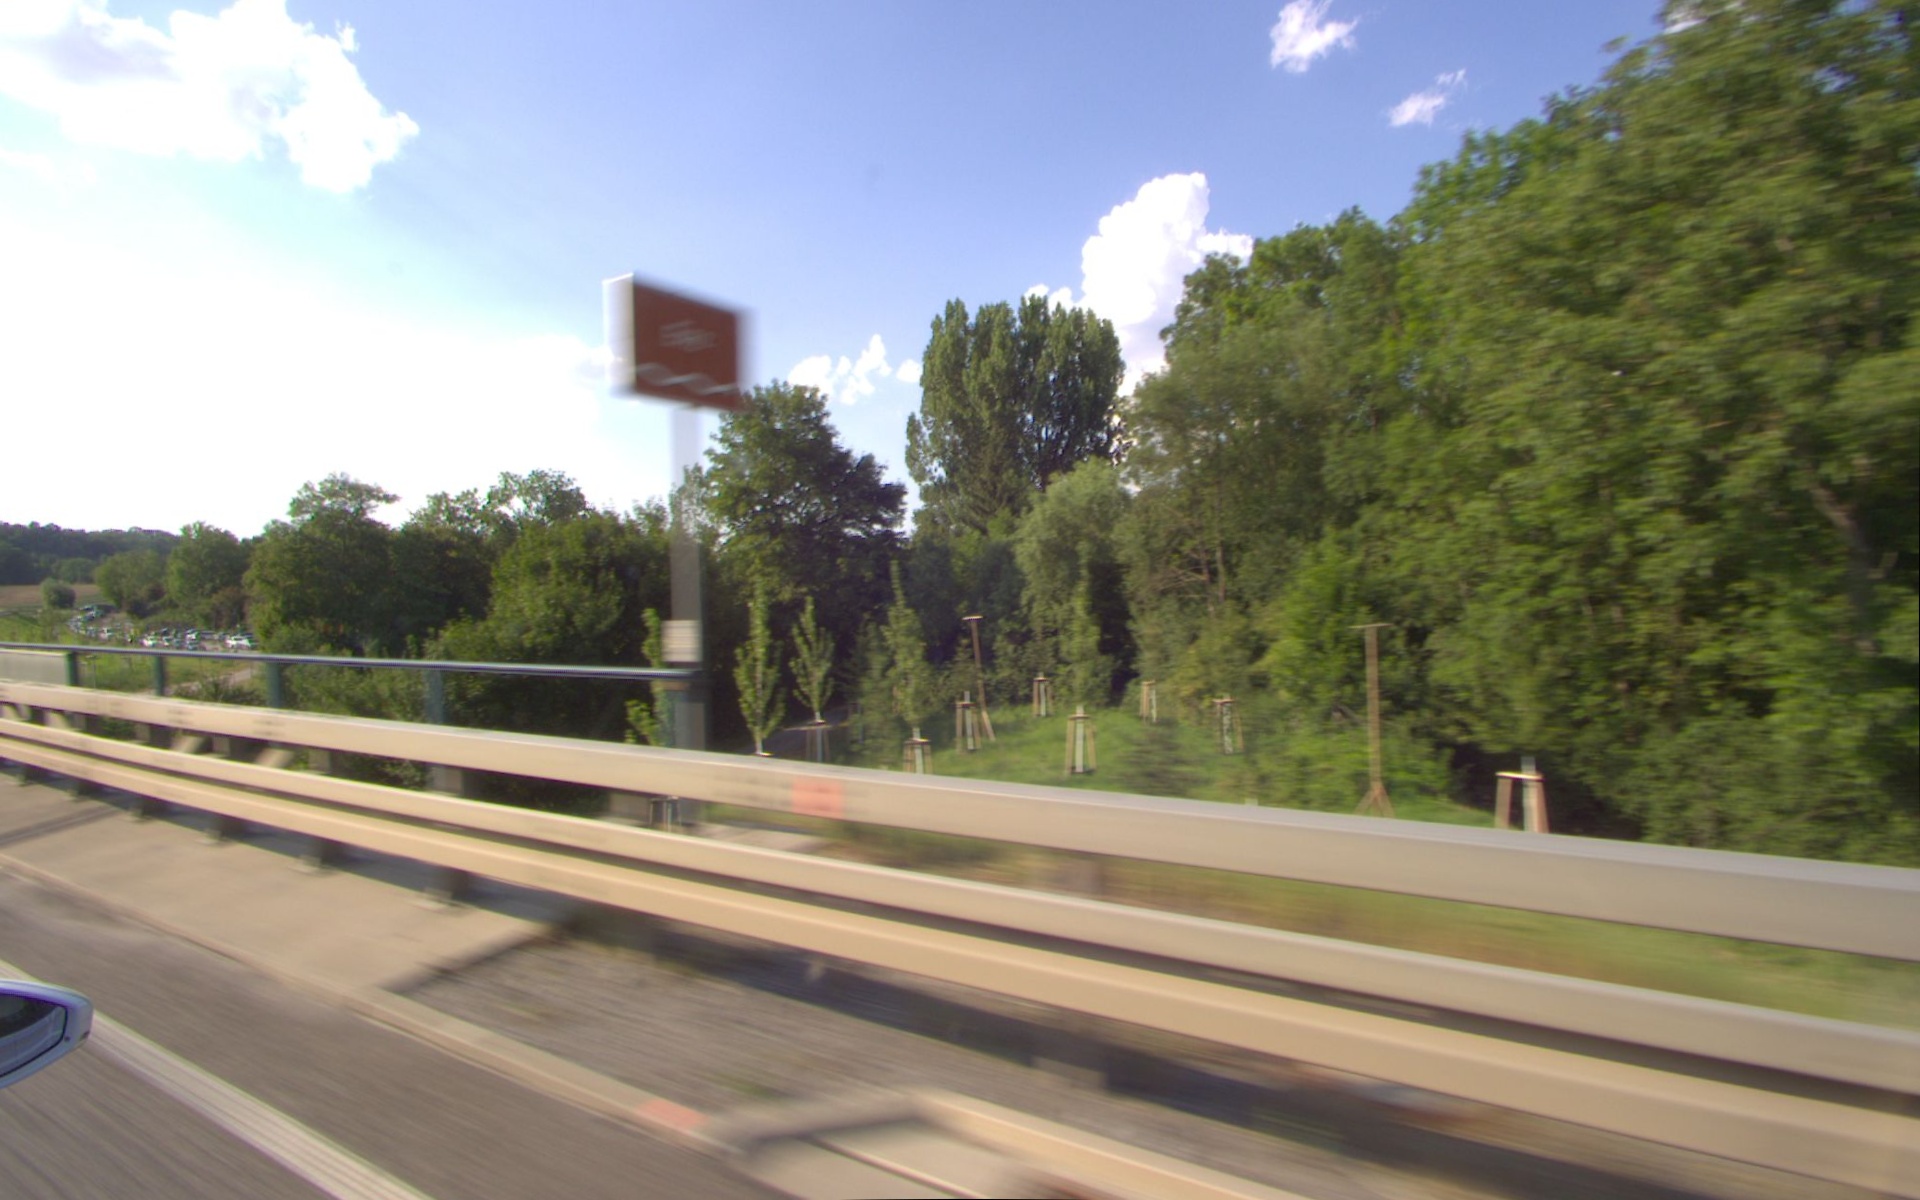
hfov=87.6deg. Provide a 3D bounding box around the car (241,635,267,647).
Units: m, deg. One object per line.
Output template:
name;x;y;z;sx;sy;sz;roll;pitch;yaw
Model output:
car;-96.511;5.537;136.882;4.167;1.516;1.649;-1;0;36
